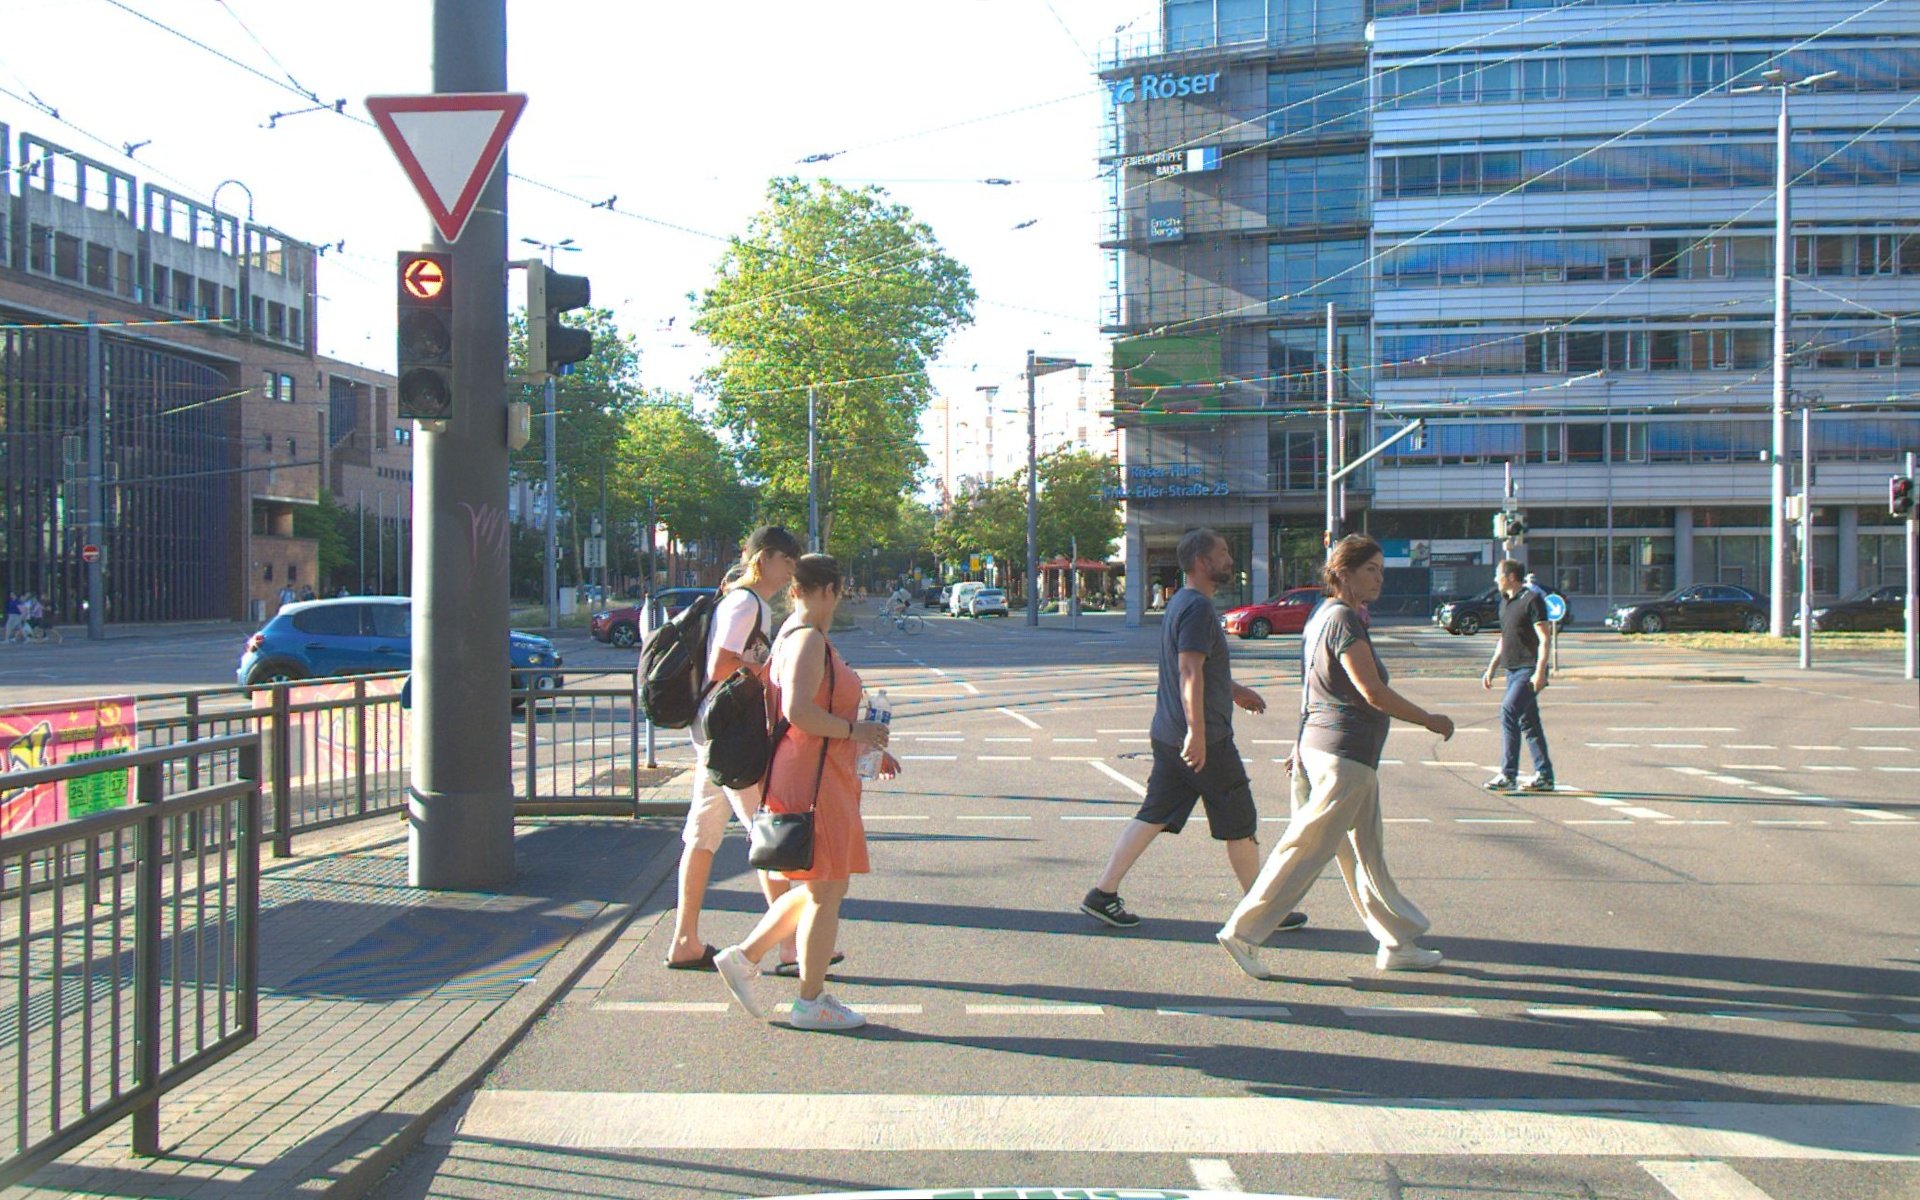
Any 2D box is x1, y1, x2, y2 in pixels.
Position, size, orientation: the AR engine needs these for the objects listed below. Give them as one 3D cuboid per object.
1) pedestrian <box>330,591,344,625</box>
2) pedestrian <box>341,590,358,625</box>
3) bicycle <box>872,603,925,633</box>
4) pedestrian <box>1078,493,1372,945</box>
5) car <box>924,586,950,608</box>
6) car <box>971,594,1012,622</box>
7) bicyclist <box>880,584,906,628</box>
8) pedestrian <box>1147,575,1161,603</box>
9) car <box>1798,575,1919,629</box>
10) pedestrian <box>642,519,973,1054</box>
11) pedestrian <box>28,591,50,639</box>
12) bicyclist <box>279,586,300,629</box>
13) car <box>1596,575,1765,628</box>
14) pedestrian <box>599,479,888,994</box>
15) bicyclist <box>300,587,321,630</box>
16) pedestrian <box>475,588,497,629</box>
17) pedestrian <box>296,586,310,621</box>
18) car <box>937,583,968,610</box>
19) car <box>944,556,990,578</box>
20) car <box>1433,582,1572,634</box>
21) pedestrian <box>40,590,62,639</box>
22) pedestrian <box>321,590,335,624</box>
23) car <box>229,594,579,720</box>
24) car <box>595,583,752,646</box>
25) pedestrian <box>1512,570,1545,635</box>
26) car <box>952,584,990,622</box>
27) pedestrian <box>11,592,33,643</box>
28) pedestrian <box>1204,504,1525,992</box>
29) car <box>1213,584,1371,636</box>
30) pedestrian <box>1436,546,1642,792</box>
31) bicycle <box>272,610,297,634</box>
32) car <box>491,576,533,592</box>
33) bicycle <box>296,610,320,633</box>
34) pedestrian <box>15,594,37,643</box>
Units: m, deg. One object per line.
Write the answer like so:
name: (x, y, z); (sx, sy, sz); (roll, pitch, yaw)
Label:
pedestrian: (-33.123, 0.419, 87.950); (0.511, 1.810, 0.546); (-1, 0, 6)
pedestrian: (-32.946, 0.406, 89.279); (0.627, 1.842, 0.546); (-1, 0, 6)
bicycle: (-1.987, 0.574, 53.485); (1.707, 0.915, 0.408); (-1, 0, -6)
pedestrian: (1.184, 0.514, 7.559); (1.123, 1.927, 0.831); (1, 0, -8)
car: (-1.762, -0.242, 127.711); (1.953, 1.691, 3.999); (-1, 0, -1)
car: (1.578, 0.395, 83.894); (1.953, 1.355, 3.999); (-1, 0, -1)
bicyclist: (-2.176, 0.194, 53.464); (0.803, 1.390, 0.400); (-1, 0, -5)
pedestrian: (10.290, -0.597, 87.763); (0.723, 1.491, 0.537); (-1, 0, 8)
car: (25.529, 0.029, 45.374); (4.151, 1.417, 1.796); (-1, 0, 4)
pedestrian: (-0.536, 0.601, 5.745); (1.052, 1.711, 0.756); (1, 0, -8)
pedestrian: (-32.294, 0.516, 58.005); (0.528, 1.679, 0.622); (-1, 0, -20)
bicyclist: (-26.826, 0.311, 66.204); (0.582, 1.705, 0.788); (-1, 0, -7)
car: (20.993, 0.042, 48.316); (4.152, 1.459, 1.796); (-1, 0, 4)
pedestrian: (-0.851, 0.509, 6.557); (1.053, 1.904, 0.737); (1, 0, -8)
bicyclist: (-26.084, 0.327, 66.471); (0.582, 1.705, 0.788); (-1, 0, -7)
pedestrian: (-18.040, 0.324, 62.964); (0.740, 1.557, 0.507); (1, 0, -8)
pedestrian: (-34.892, 0.207, 87.790); (0.479, 1.842, 0.546); (-1, 0, 6)
car: (-0.486, -0.226, 106.015); (1.953, 1.691, 3.999); (-1, 0, -1)
car: (0.617, -2.840, 142.312); (3.681, 1.780, 1.783); (1, 0, 14)
car: (17.016, 0.243, 52.019); (3.781, 1.533, 1.796); (-1, 0, 1)
pedestrian: (-31.247, 0.492, 56.874); (0.528, 1.679, 0.622); (-1, 0, -20)
pedestrian: (-34.094, 0.382, 89.231); (0.479, 1.842, 0.546); (-1, 0, 6)
car: (-7.054, 0.691, 21.349); (3.876, 1.482, 1.998); (-1, 0, -4)
car: (-7.899, 0.390, 45.599); (4.166, 1.630, 1.790); (-1, 0, -12)
pedestrian: (15.056, 0.065, 43.818); (0.704, 1.711, 0.557); (1, 0, 6)
car: (0.581, 0.130, 90.717); (1.953, 2.026, 3.999); (-1, 0, -1)
pedestrian: (-31.755, 0.588, 56.013); (0.528, 1.679, 0.622); (-1, 0, -20)
pedestrian: (1.608, 0.562, 6.688); (1.051, 1.837, 0.756); (1, 0, -8)
car: (9.566, 0.268, 47.797); (4.158, 1.417, 1.794); (-1, 0, -5)
pedestrian: (4.546, 0.528, 13.067); (1.185, 1.854, 1.040); (1, 0, -6)
bicycle: (-26.976, 0.880, 66.094); (0.503, 0.897, 1.835); (-1, 0, -8)
car: (-46.854, -1.660, 173.086); (3.948, 1.579, 1.589); (1, 0, -32)
bicycle: (-26.181, 0.848, 66.412); (0.503, 0.897, 1.835); (-1, 0, -8)
pedestrian: (-32.316, 0.635, 57.246); (0.528, 1.679, 0.622); (-1, 0, -20)
